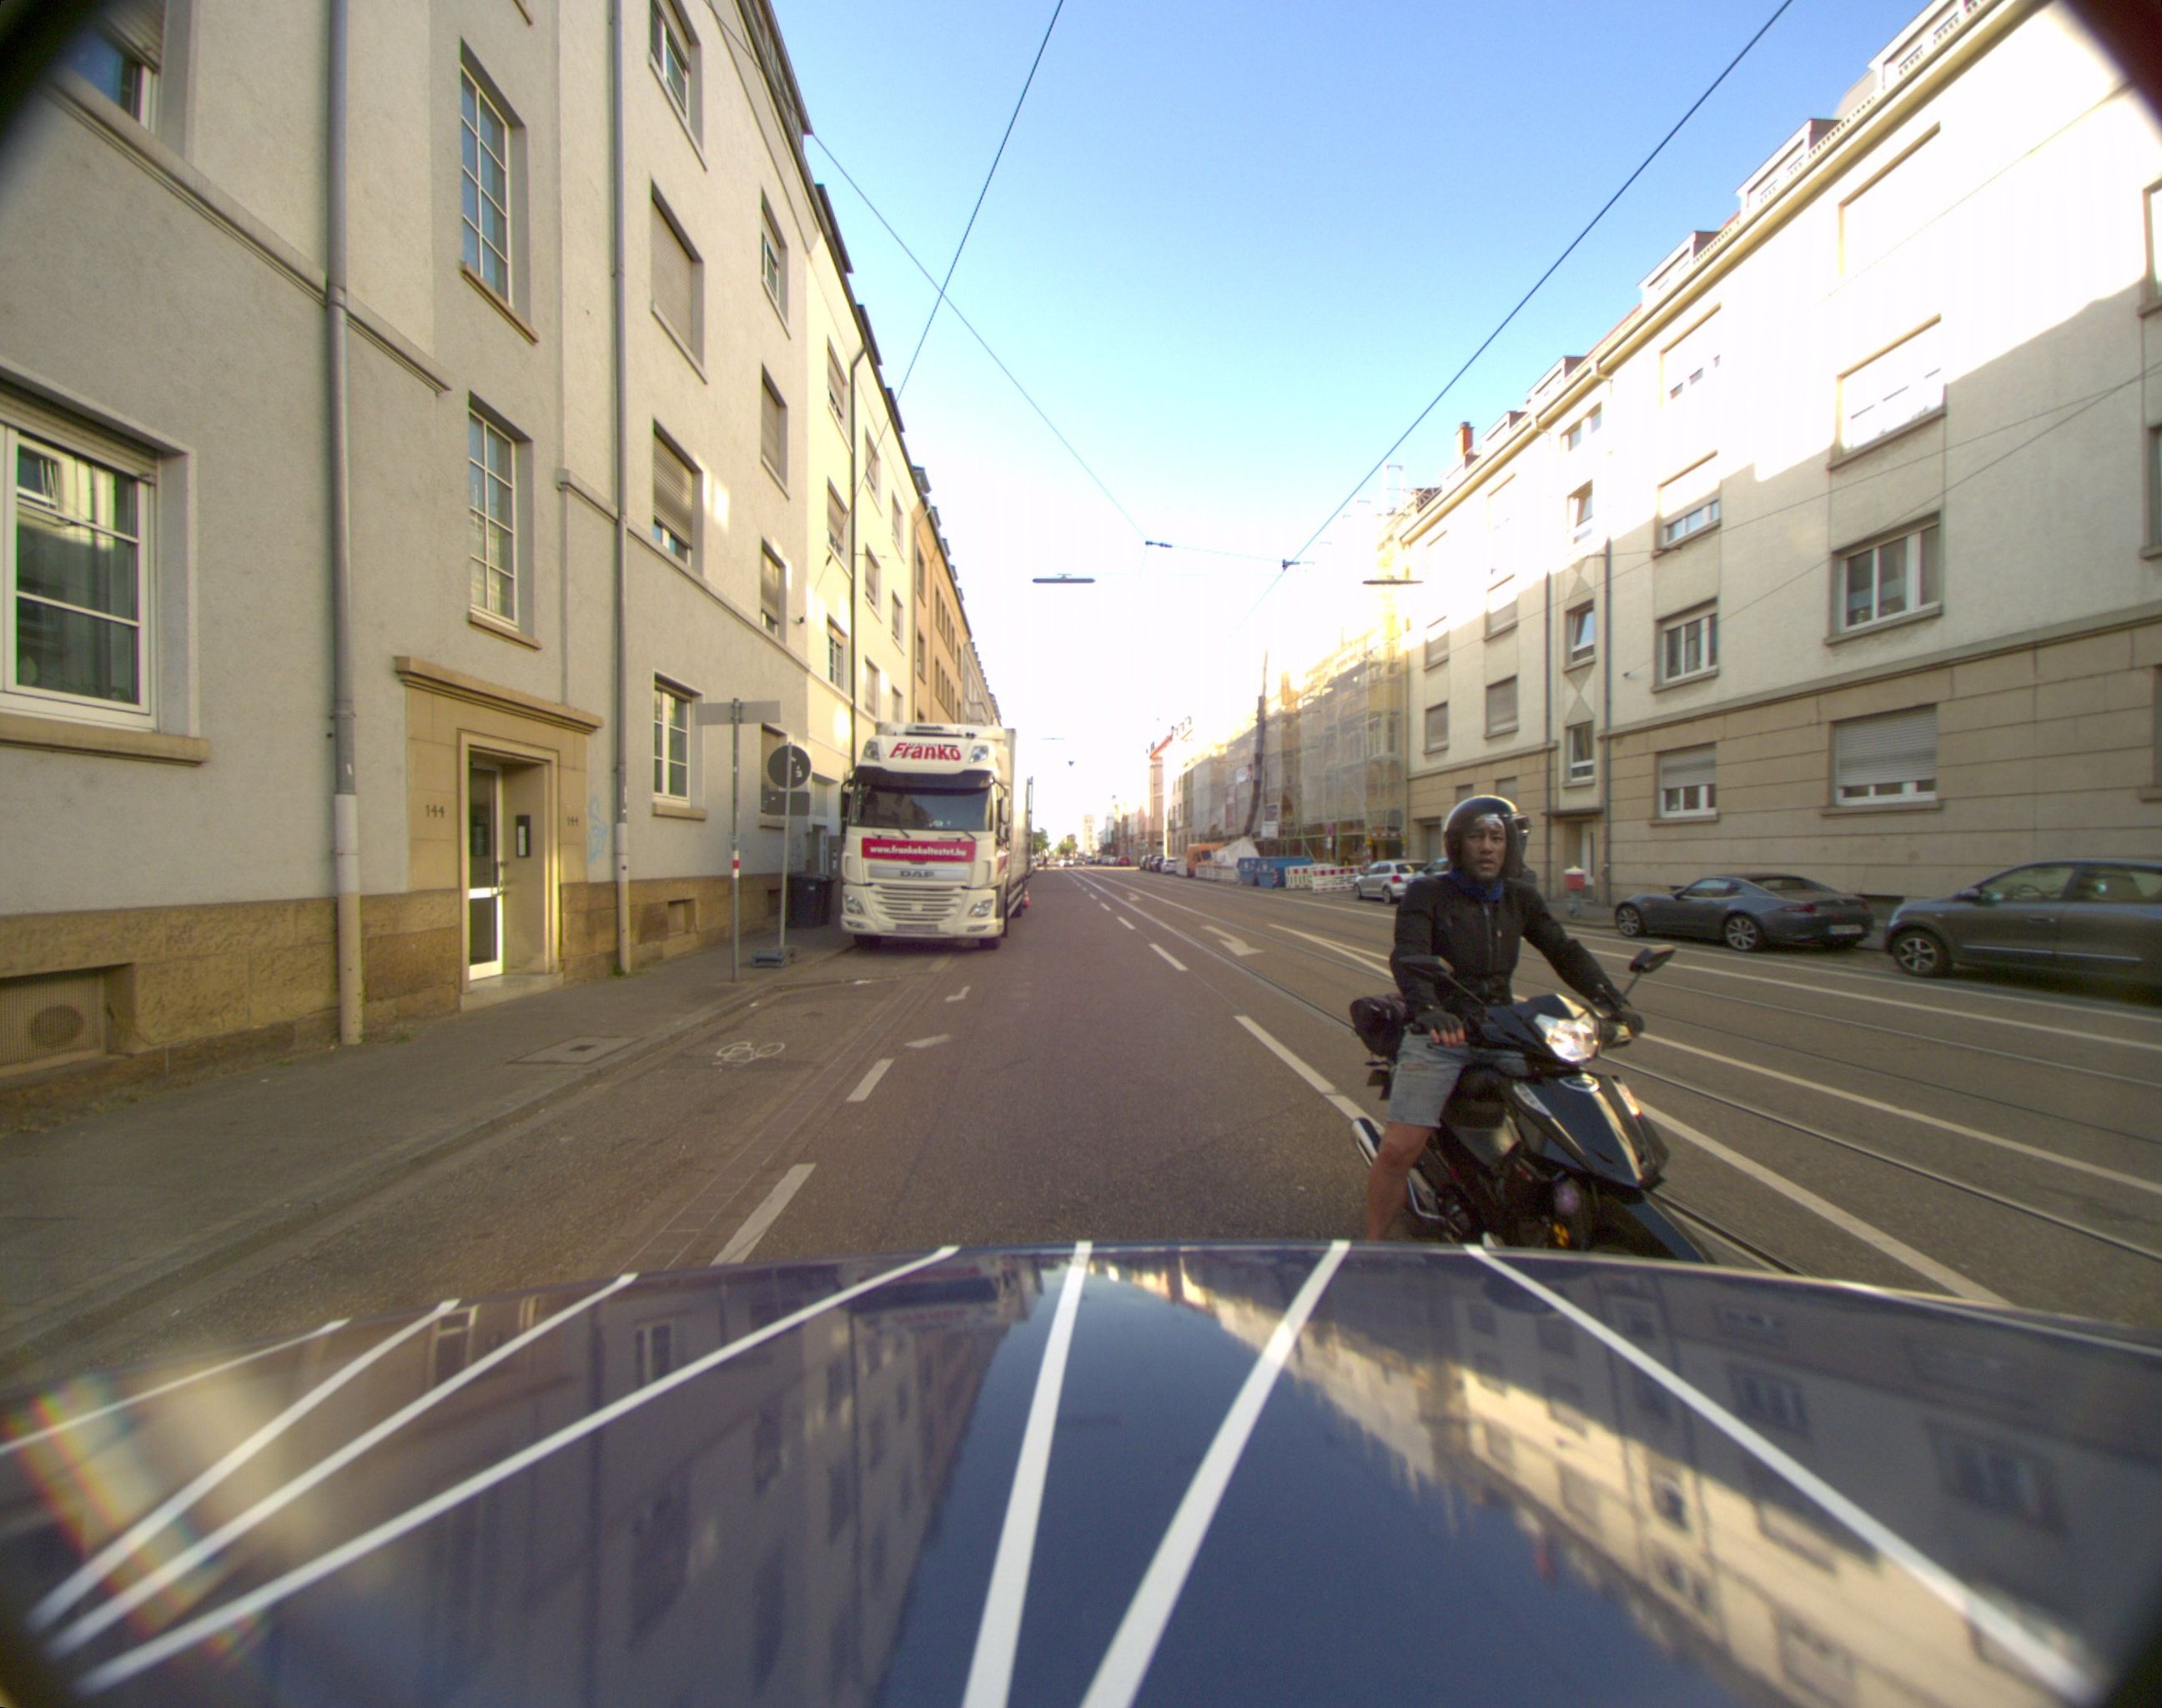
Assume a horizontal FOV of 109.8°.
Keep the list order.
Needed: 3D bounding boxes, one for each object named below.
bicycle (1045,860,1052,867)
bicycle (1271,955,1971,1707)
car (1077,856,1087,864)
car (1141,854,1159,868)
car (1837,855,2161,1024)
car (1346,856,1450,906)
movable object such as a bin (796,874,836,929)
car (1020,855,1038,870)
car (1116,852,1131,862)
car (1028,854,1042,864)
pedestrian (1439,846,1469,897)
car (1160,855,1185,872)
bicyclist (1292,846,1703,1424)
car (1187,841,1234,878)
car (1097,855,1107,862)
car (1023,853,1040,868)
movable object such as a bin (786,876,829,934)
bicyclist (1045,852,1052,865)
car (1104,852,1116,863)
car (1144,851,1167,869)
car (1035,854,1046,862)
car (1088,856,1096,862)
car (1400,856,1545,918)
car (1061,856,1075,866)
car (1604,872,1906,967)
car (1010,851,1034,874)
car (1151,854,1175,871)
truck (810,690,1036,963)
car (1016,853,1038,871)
[{"bbox_3d":[-3.840,1.106,89.641,0.744,0.850,1.886,0,0,0],"label":"bicycle"},{"bbox_3d":[1.267,1.040,2.411,0.740,1.170,1.973,0,0,-3],"label":"bicycle"},{"bbox_3d":[0.235,1.265,163.462,1.826,1.559,4.199,-2,0,-4],"label":"car"},{"bbox_3d":[7.944,0.792,88.146,1.798,1.601,3.769,0,0,1],"label":"car"},{"bbox_3d":[11.421,0.851,8.590,1.704,1.560,3.999,-2,1,-2],"label":"car"},{"bbox_3d":[10.713,0.851,25.978,1.704,1.407,3.999,-3,1,-2],"label":"car"},{"bbox_3d":[-5.438,0.968,15.623,0.660,1.098,0.541,0,1,-5],"label":"movable object such as a bin"},{"bbox_3d":[-5.263,0.855,77.282,1.703,1.496,3.862,0,0,-1],"label":"car"},{"bbox_3d":[6.611,0.514,118.430,1.799,1.494,3.768,-2,0,-3],"label":"car"},{"bbox_3d":[-6.817,0.779,112.984,1.999,1.412,3.726,1,0,-2],"label":"car"},{"bbox_3d":[12.537,0.572,25.549,0.582,1.684,0.716,-2,1,-3],"label":"pedestrian"},{"bbox_3d":[8.543,0.864,71.132,1.751,1.502,3.999,1,0,-2],"label":"car"},{"bbox_3d":[1.239,0.751,2.466,0.844,1.545,0.849,0,0,-3],"label":"bicyclist"},{"bbox_3d":[8.993,0.349,53.342,2.125,2.454,5.999,1,0,-2],"label":"car"},{"bbox_3d":[4.539,1.071,167.664,1.799,1.494,3.768,-2,0,-3],"label":"car"},{"bbox_3d":[-5.327,0.674,82.401,1.703,1.581,3.960,0,0,-2],"label":"car"},{"bbox_3d":[-5.403,1.000,15.032,0.660,1.098,0.541,0,1,-5],"label":"movable object such as a bin"},{"bbox_3d":[-3.827,0.562,89.752,0.744,1.481,0.816,0,0,0],"label":"bicyclist"},{"bbox_3d":[5.592,0.675,149.179,1.999,2.002,3.999,1,0,-3],"label":"car"},{"bbox_3d":[8.124,0.672,83.147,1.799,1.836,3.768,-2,0,-3],"label":"car"},{"bbox_3d":[-7.629,0.738,142.960,1.999,1.630,3.999,1,0,-2],"label":"car"},{"bbox_3d":[2.829,1.224,191.733,1.799,1.494,3.768,-2,0,-3],"label":"car"},{"bbox_3d":[10.845,0.839,21.458,1.704,1.558,4.405,0,0,-2],"label":"car"},{"bbox_3d":[-1.850,1.003,107.762,1.859,1.369,4.000,0,0,1],"label":"car"},{"bbox_3d":[11.233,1.002,13.069,1.704,1.209,3.784,-2,1,-3],"label":"car"},{"bbox_3d":[-4.561,0.661,59.442,1.713,1.683,4.588,1,0,-3],"label":"car"},{"bbox_3d":[8.345,0.831,77.192,1.702,1.569,4.221,-2,0,-3],"label":"car"},{"bbox_3d":[-2.702,-0.400,17.213,2.867,4.049,11.776,0,0,-1],"label":"truck"},{"bbox_3d":[-5.028,0.727,71.619,1.703,1.688,4.187,1,0,0],"label":"car"}]
